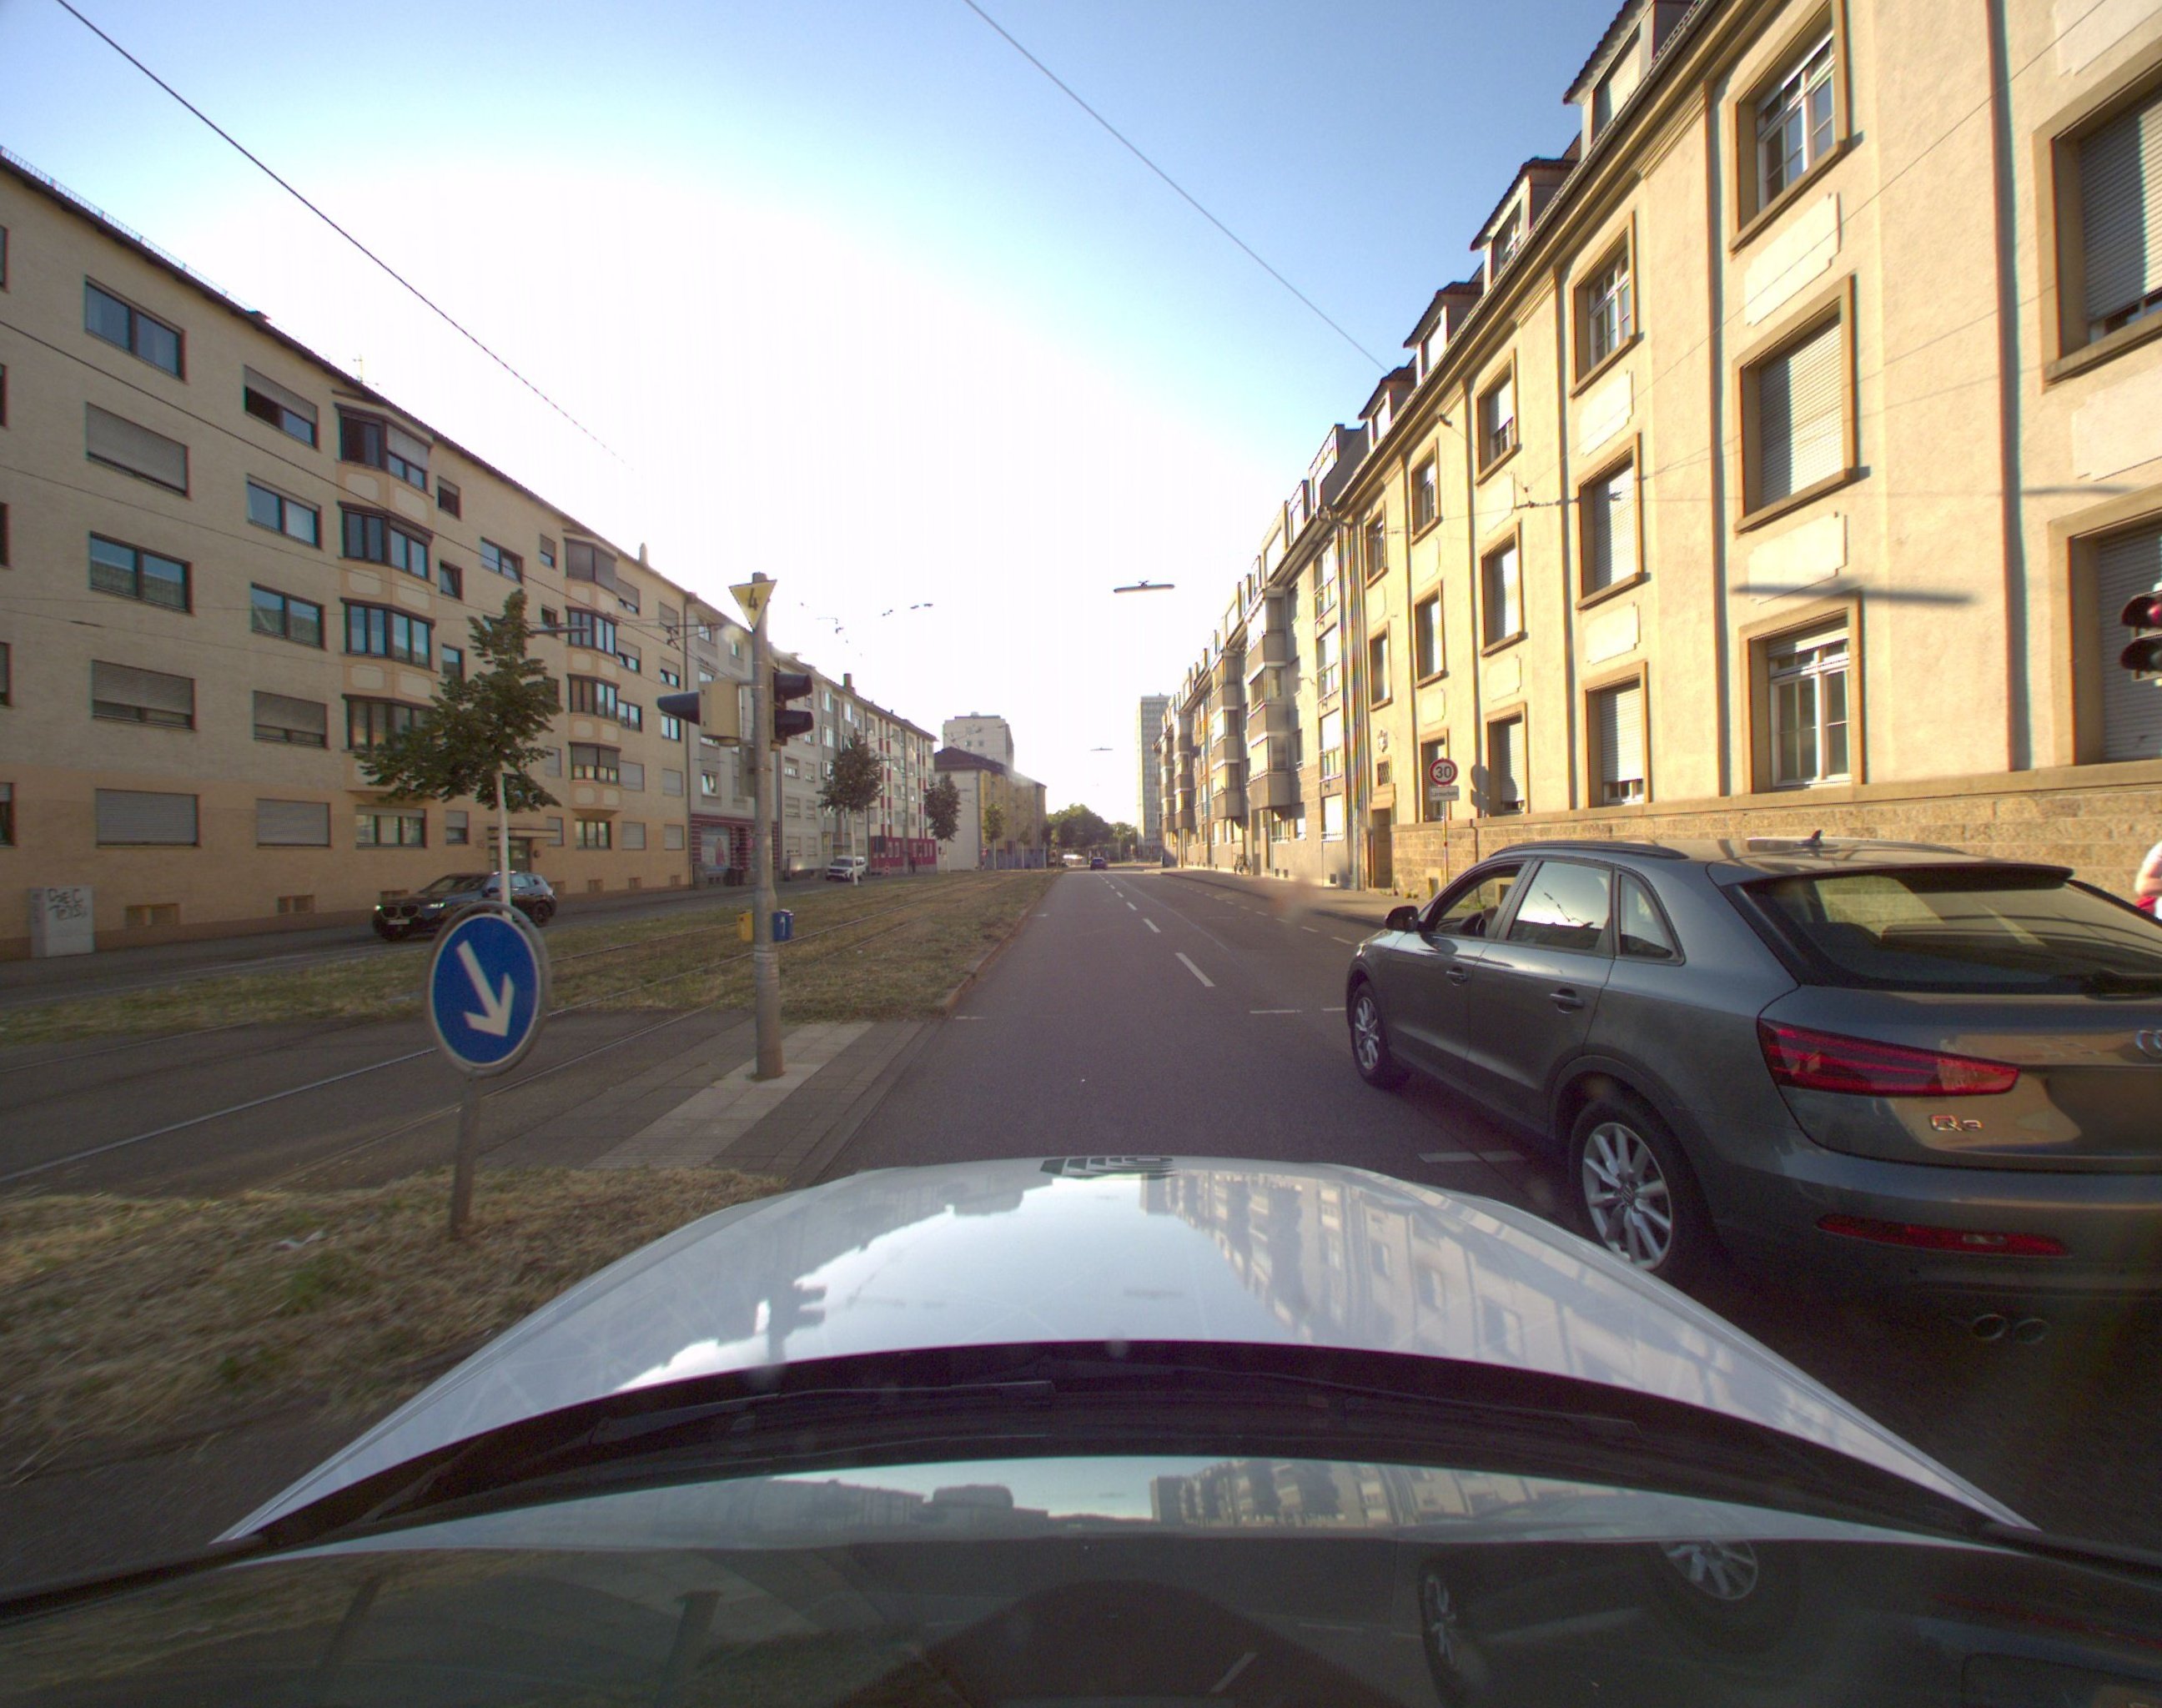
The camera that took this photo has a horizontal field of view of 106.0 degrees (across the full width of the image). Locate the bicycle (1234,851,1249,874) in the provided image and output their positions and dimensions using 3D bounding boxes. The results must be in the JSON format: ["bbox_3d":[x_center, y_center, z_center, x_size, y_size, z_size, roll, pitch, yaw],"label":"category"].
[{"bbox_3d":[7.987,0.421,40.604,0.382,1.096,1.503,-2,-1,-2],"label":"bicycle"}]

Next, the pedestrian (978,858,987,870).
[{"bbox_3d":[-13.725,1.415,113.337,0.958,1.670,1.012,0,-1,5],"label":"pedestrian"}]

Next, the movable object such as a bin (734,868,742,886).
[{"bbox_3d":[-19.872,1.351,47.190,0.297,1.036,0.441,0,-1,-1],"label":"movable object such as a bin"}]

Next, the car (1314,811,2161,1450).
[{"bbox_3d":[2.653,0.696,4.128,1.692,1.553,4.223,0,-1,-1],"label":"car"}]

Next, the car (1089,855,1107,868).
[{"bbox_3d":[2.009,0.828,94.939,1.917,1.456,4.332,0,-1,4],"label":"car"}]

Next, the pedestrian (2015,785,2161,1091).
[{"bbox_3d":[6.635,0.486,5.001,0.832,1.762,0.824,0,-1,0],"label":"pedestrian"}]

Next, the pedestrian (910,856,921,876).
[{"bbox_3d":[-17.315,1.241,85.222,1.000,2.035,0.887,0,-1,5],"label":"pedestrian"}]

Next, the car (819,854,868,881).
[{"bbox_3d":[-17.389,0.963,59.927,1.985,1.925,4.546,0,-1,4],"label":"car"}]

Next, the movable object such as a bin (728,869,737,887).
[{"bbox_3d":[-19.896,1.356,46.505,0.297,1.036,0.441,0,-1,-1],"label":"movable object such as a bin"}]

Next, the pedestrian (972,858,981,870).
[{"bbox_3d":[-14.521,1.411,113.256,0.958,1.694,1.012,0,-1,5],"label":"pedestrian"}]

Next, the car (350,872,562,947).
[{"bbox_3d":[-16.426,1.370,21.805,1.890,1.633,4.748,-2,0,1],"label":"car"}]
